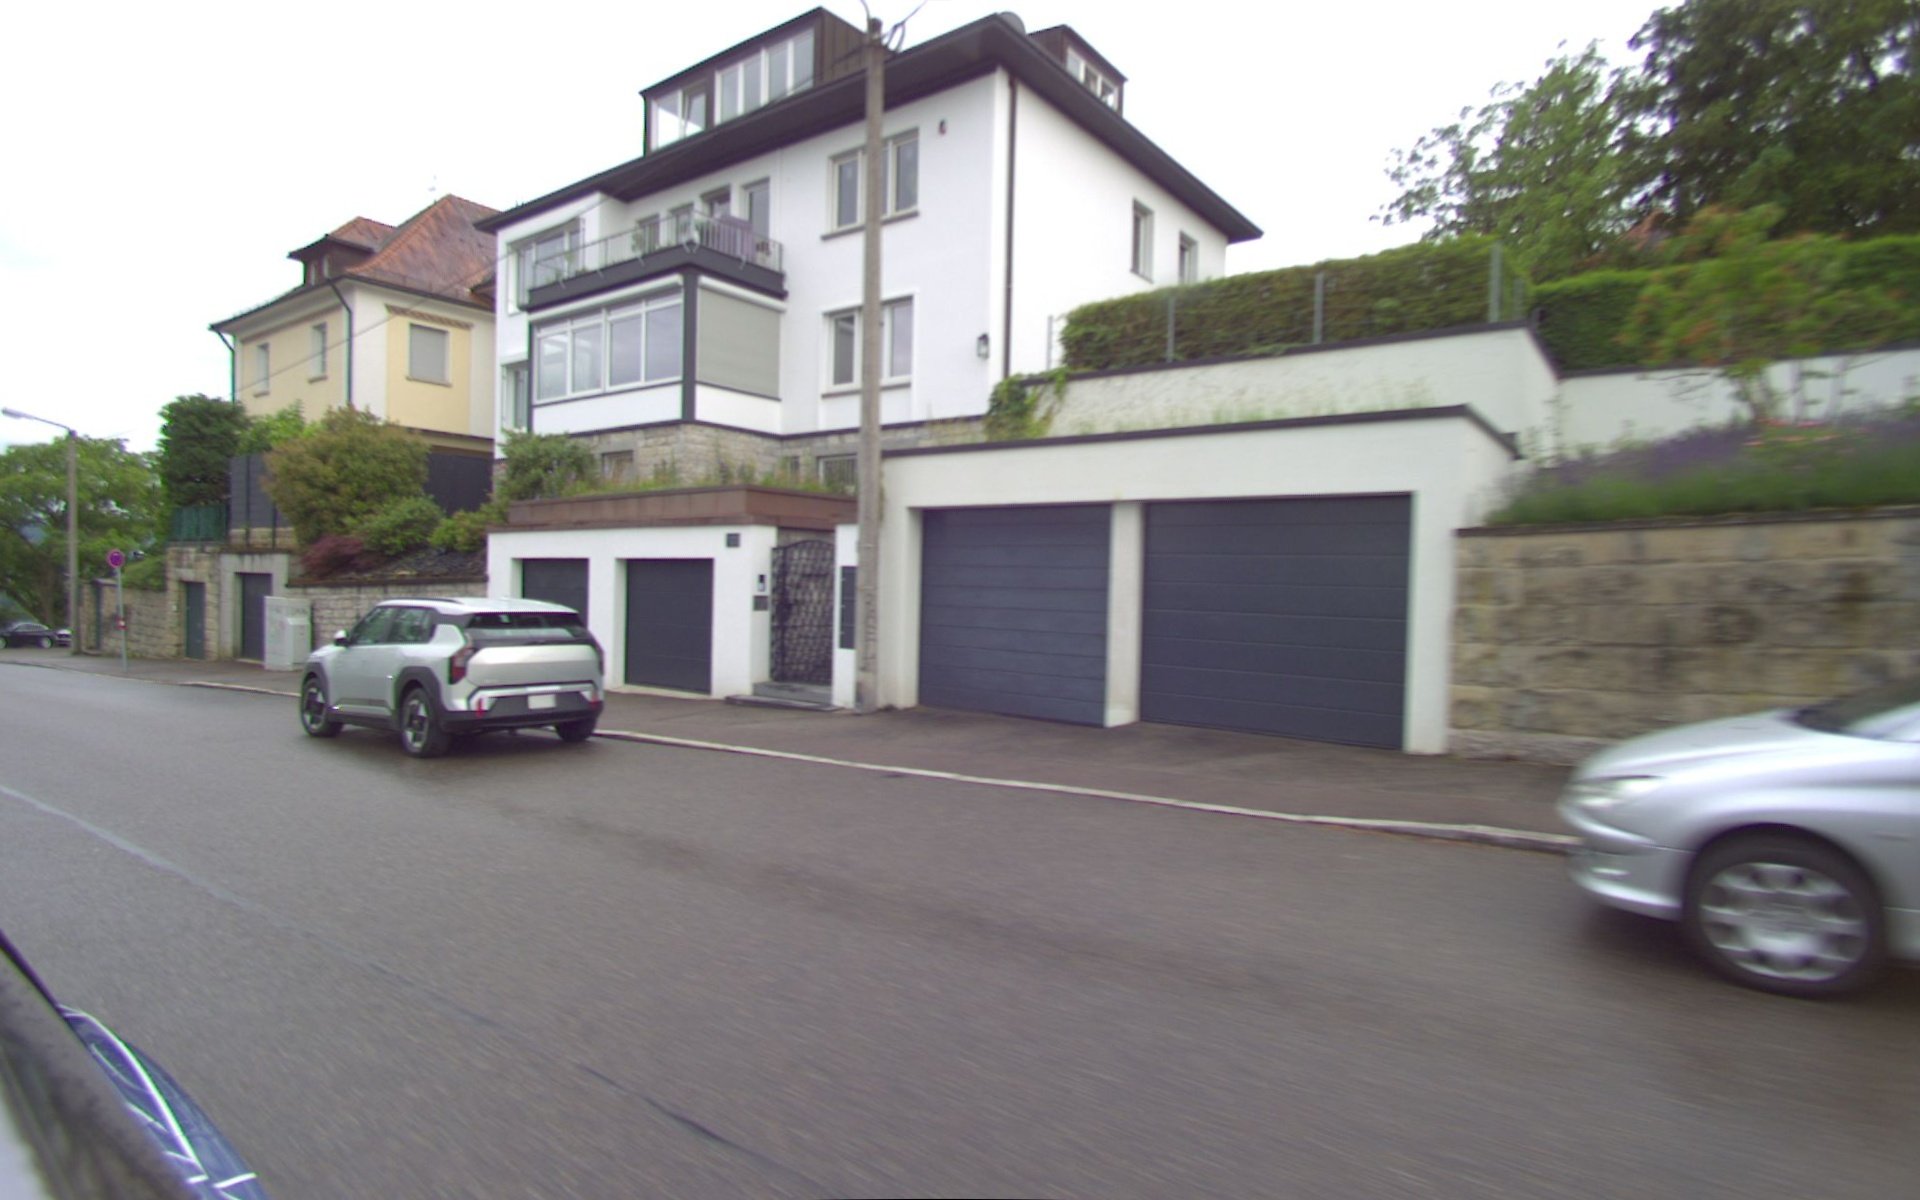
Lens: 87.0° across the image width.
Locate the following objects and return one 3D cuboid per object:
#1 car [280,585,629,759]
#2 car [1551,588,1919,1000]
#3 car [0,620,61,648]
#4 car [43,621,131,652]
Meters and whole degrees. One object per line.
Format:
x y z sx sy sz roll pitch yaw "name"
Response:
-5.719 0.690 11.252 4.232 1.579 1.880 -1 -1 38 "car"
4.358 0.631 3.474 3.836 1.347 1.594 -1 1 38 "car"
-55.044 1.963 58.483 1.839 1.554 4.896 1 -3 -2 "car"
-55.260 2.337 64.179 1.727 1.835 4.423 2 -3 -1 "car"
